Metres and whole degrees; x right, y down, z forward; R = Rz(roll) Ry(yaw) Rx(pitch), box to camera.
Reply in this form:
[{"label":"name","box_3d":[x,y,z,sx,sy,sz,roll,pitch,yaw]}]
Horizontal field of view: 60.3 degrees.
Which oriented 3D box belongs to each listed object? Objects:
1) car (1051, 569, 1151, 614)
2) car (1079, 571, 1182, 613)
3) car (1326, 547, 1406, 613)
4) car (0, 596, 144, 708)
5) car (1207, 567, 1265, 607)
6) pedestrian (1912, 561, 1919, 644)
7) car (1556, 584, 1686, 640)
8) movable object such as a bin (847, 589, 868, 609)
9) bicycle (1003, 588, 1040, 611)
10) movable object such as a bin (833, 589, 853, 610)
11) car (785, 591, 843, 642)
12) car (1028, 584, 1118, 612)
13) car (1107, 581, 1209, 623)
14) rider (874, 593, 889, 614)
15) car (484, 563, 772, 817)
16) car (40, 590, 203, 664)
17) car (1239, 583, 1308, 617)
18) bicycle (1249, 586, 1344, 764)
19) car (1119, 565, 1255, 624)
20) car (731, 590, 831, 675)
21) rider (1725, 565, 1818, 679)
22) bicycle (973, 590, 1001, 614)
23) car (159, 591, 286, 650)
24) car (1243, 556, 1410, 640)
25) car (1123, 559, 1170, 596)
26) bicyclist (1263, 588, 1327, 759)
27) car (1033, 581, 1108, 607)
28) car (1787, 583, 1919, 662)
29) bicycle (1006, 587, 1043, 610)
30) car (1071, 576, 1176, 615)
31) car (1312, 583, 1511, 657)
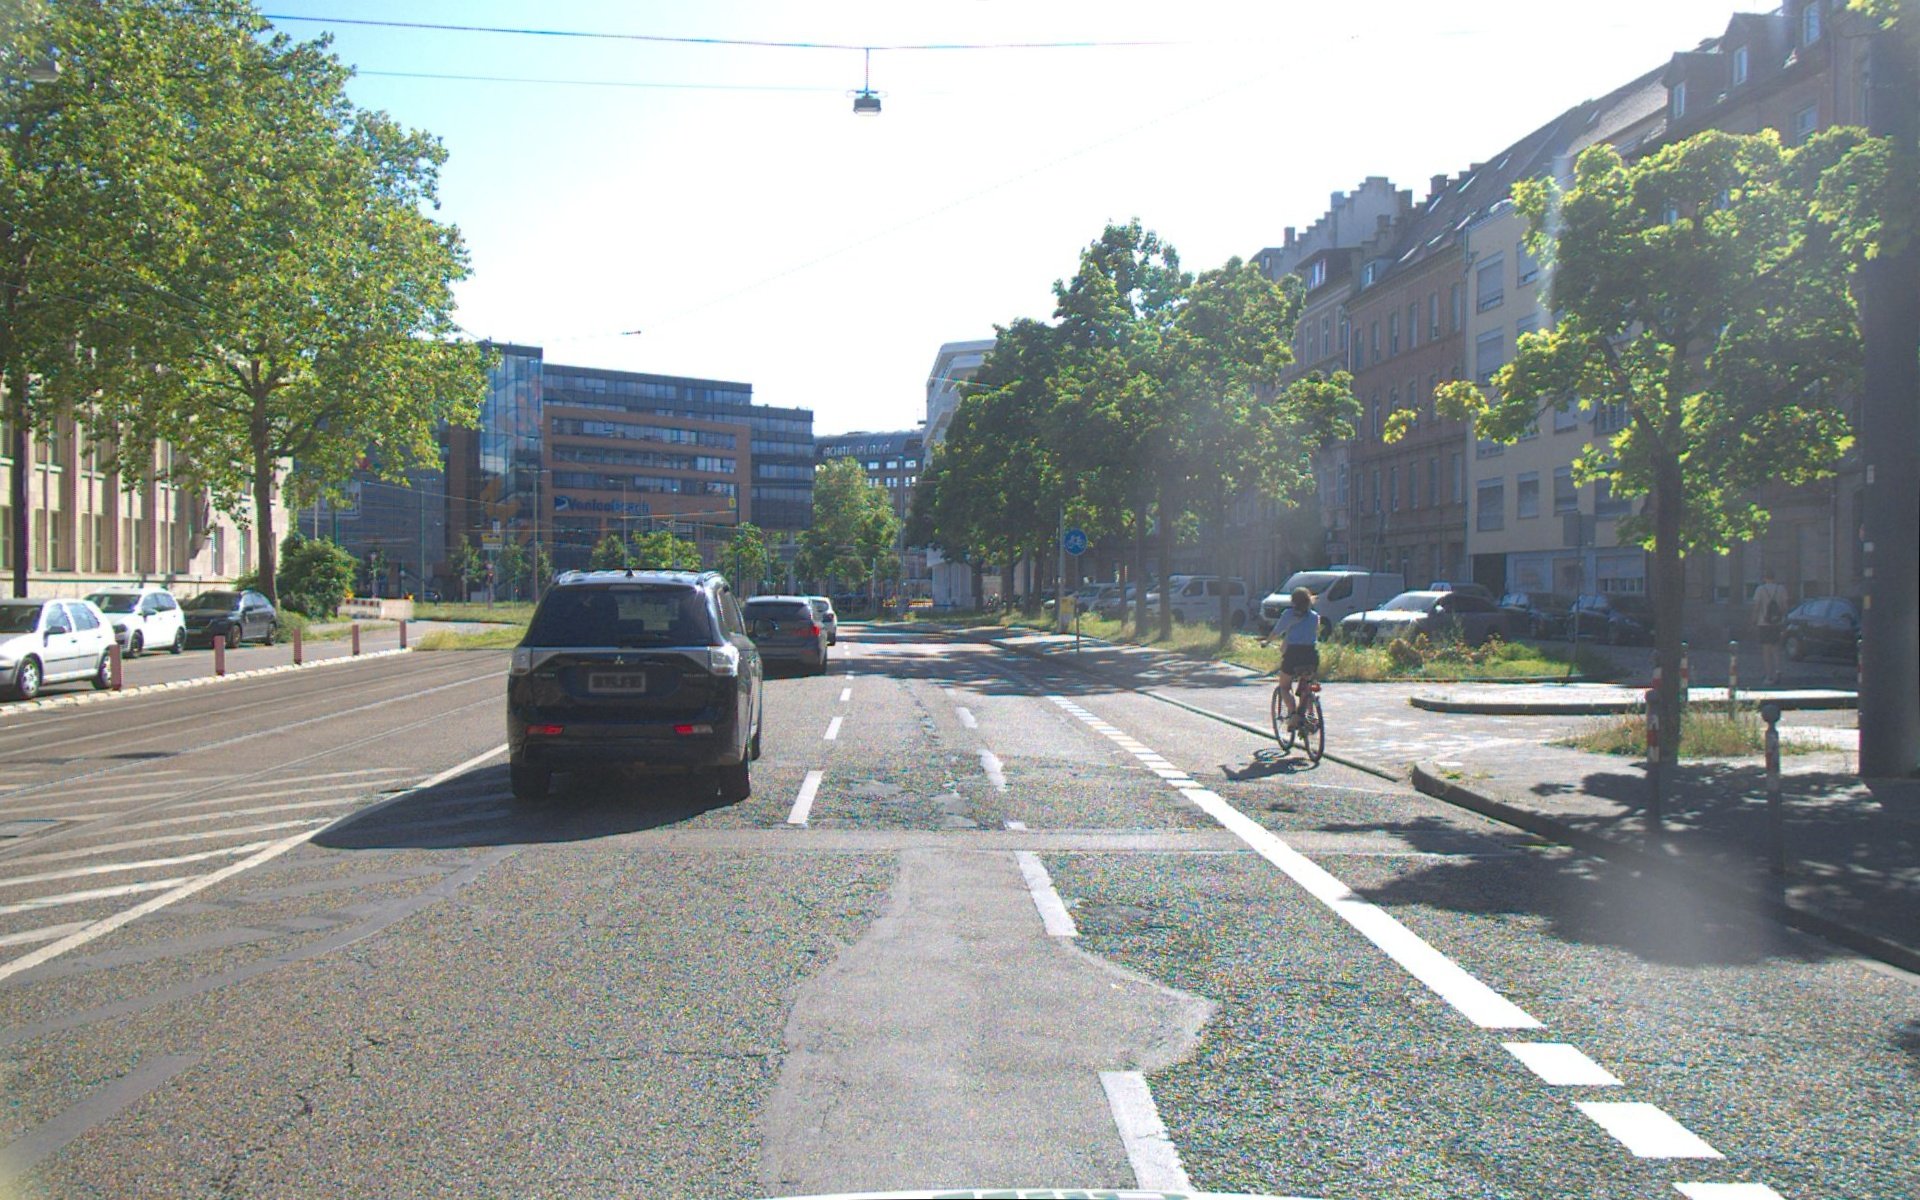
[{"label":"car","box_3d":[7.055,-0.438,82.365,4.833,2.048,2.071,-3,1,-39]},{"label":"car","box_3d":[7.866,-0.379,76.201,4.460,1.757,1.976,-3,1,-34]},{"label":"car","box_3d":[16.958,-0.855,69.254,1.954,2.630,4.510,-2,1,-3]},{"label":"car","box_3d":[-13.848,0.721,24.304,1.793,1.478,4.168,-1,1,-3]},{"label":"car","box_3d":[14.693,-0.728,88.436,1.954,2.012,4.720,-2,1,-4]},{"label":"pedestrian","box_3d":[20.843,0.054,35.396,0.558,1.789,0.615,-1,0,-2]},{"label":"car","box_3d":[18.627,0.308,46.814,1.694,1.445,4.290,-1,1,-4]},{"label":"movable object such as a bin","box_3d":[-7.199,-0.090,116.508,1.084,1.423,1.322,0,0,15]},{"label":"bicycle","box_3d":[3.438,-0.041,92.299,1.919,1.212,0.841,-2,0,-5]},{"label":"movable object such as a bin","box_3d":[-8.259,-0.045,116.710,1.046,1.423,1.305,0,0,15]},{"label":"car","box_3d":[-4.457,0.533,50.082,1.601,1.448,3.776,2,-2,-7]},{"label":"car","box_3d":[6.051,-0.120,88.446,4.705,1.404,2.018,-1,1,-39]},{"label":"car","box_3d":[8.015,0.082,66.756,3.990,1.504,1.788,-3,1,-39]},{"label":"rider","box_3d":[-4.608,0.215,97.314,0.491,1.196,1.677,0,1,13]},{"label":"car","box_3d":[-2.504,0.619,13.535,1.800,1.711,4.637,1,0,-5]},{"label":"car","box_3d":[-19.746,0.591,39.165,1.793,1.615,4.392,-1,1,-4]},{"label":"car","box_3d":[15.474,-0.035,81.837,1.956,1.555,4.505,-2,1,-8]},{"label":"bicycle","box_3d":[3.349,0.703,16.595,0.429,1.667,1.937,-1,1,-4]},{"label":"car","box_3d":[8.799,-0.206,63.967,5.126,2.048,2.076,-3,1,-35]},{"label":"car","box_3d":[-3.360,0.632,31.409,1.700,1.448,4.462,2,-2,-5]},{"label":"rider","box_3d":[13.615,0.352,27.759,0.946,1.852,1.034,-1,1,-22]},{"label":"bicycle","box_3d":[1.489,0.109,91.209,0.754,1.312,1.592,-1,1,35]},{"label":"car","box_3d":[-20.182,0.521,45.435,1.793,1.518,4.179,0,0,-3]},{"label":"car","box_3d":[10.271,-0.085,46.138,4.834,2.111,1.992,-3,1,-40]},{"label":"car","box_3d":[12.736,-1.528,113.219,2.303,2.398,5.184,-2,1,-4]},{"label":"bicyclist","box_3d":[3.355,0.714,16.586,0.429,1.667,0.778,-1,0,-4]},{"label":"car","box_3d":[6.805,-0.378,101.441,4.421,1.593,1.913,-1,1,-36]},{"label":"car","box_3d":[19.281,0.412,34.279,1.953,1.500,4.489,-1,1,-1]},{"label":"bicycle","box_3d":[3.544,-0.106,91.310,1.907,1.201,0.899,-2,0,-5]},{"label":"car","box_3d":[7.884,-0.238,79.793,4.823,1.676,2.076,-3,1,-34]},{"label":"car","box_3d":[10.598,0.422,38.671,4.830,1.460,1.993,-3,2,-38]}]
